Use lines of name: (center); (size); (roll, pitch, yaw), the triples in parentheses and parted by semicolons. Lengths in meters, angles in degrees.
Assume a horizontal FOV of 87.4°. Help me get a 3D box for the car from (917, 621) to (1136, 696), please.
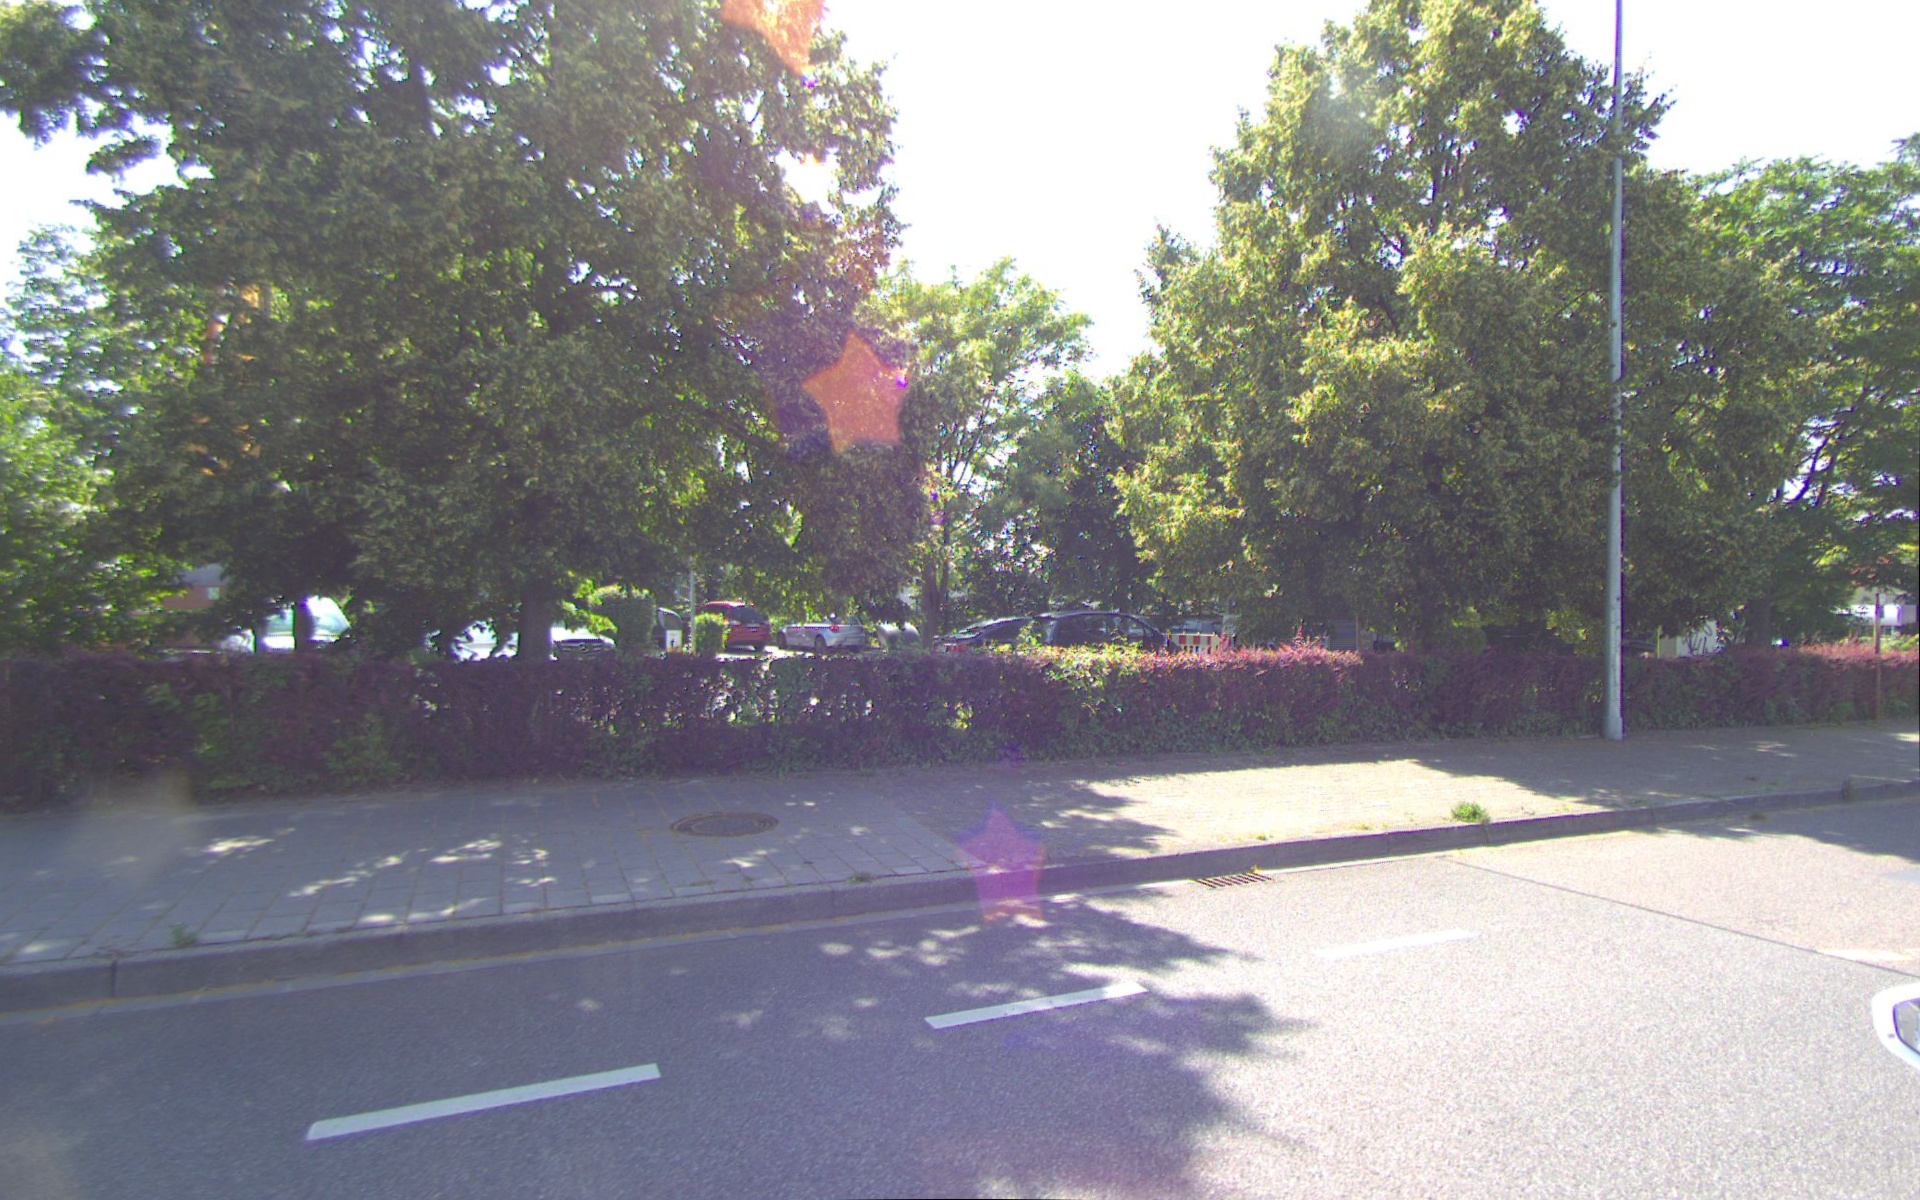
car: (1.504, 1.249, 22.383); (4.591, 1.530, 1.778); (1, -1, -24)

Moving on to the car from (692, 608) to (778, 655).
car: (-8.312, 1.131, 36.939); (1.780, 1.619, 3.962); (1, -1, -34)

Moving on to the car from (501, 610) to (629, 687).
car: (-8.849, 1.011, 22.339); (1.724, 1.546, 3.960); (1, -1, -36)

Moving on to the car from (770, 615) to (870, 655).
car: (-5.196, 1.254, 36.973); (3.946, 1.356, 1.576); (-1, -1, 45)

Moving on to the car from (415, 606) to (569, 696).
car: (-8.738, 0.869, 18.588); (1.876, 1.479, 3.960); (1, -1, -36)

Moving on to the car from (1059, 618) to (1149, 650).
car: (5.144, 1.190, 36.187); (1.391, 1.104, 3.360); (1, -1, -33)

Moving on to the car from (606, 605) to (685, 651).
car: (-11.825, 1.024, 37.601); (1.780, 1.619, 3.962); (1, -1, -34)

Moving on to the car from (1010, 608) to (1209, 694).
car: (3.032, 0.992, 20.456); (3.700, 1.624, 1.679); (1, -1, -21)

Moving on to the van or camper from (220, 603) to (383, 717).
van or camper: (-11.824, 0.974, 17.905); (1.983, 1.763, 4.236); (1, -1, -39)

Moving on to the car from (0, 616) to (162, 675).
car: (-22.182, 1.107, 25.229); (3.315, 1.394, 1.574); (1, -1, -38)
